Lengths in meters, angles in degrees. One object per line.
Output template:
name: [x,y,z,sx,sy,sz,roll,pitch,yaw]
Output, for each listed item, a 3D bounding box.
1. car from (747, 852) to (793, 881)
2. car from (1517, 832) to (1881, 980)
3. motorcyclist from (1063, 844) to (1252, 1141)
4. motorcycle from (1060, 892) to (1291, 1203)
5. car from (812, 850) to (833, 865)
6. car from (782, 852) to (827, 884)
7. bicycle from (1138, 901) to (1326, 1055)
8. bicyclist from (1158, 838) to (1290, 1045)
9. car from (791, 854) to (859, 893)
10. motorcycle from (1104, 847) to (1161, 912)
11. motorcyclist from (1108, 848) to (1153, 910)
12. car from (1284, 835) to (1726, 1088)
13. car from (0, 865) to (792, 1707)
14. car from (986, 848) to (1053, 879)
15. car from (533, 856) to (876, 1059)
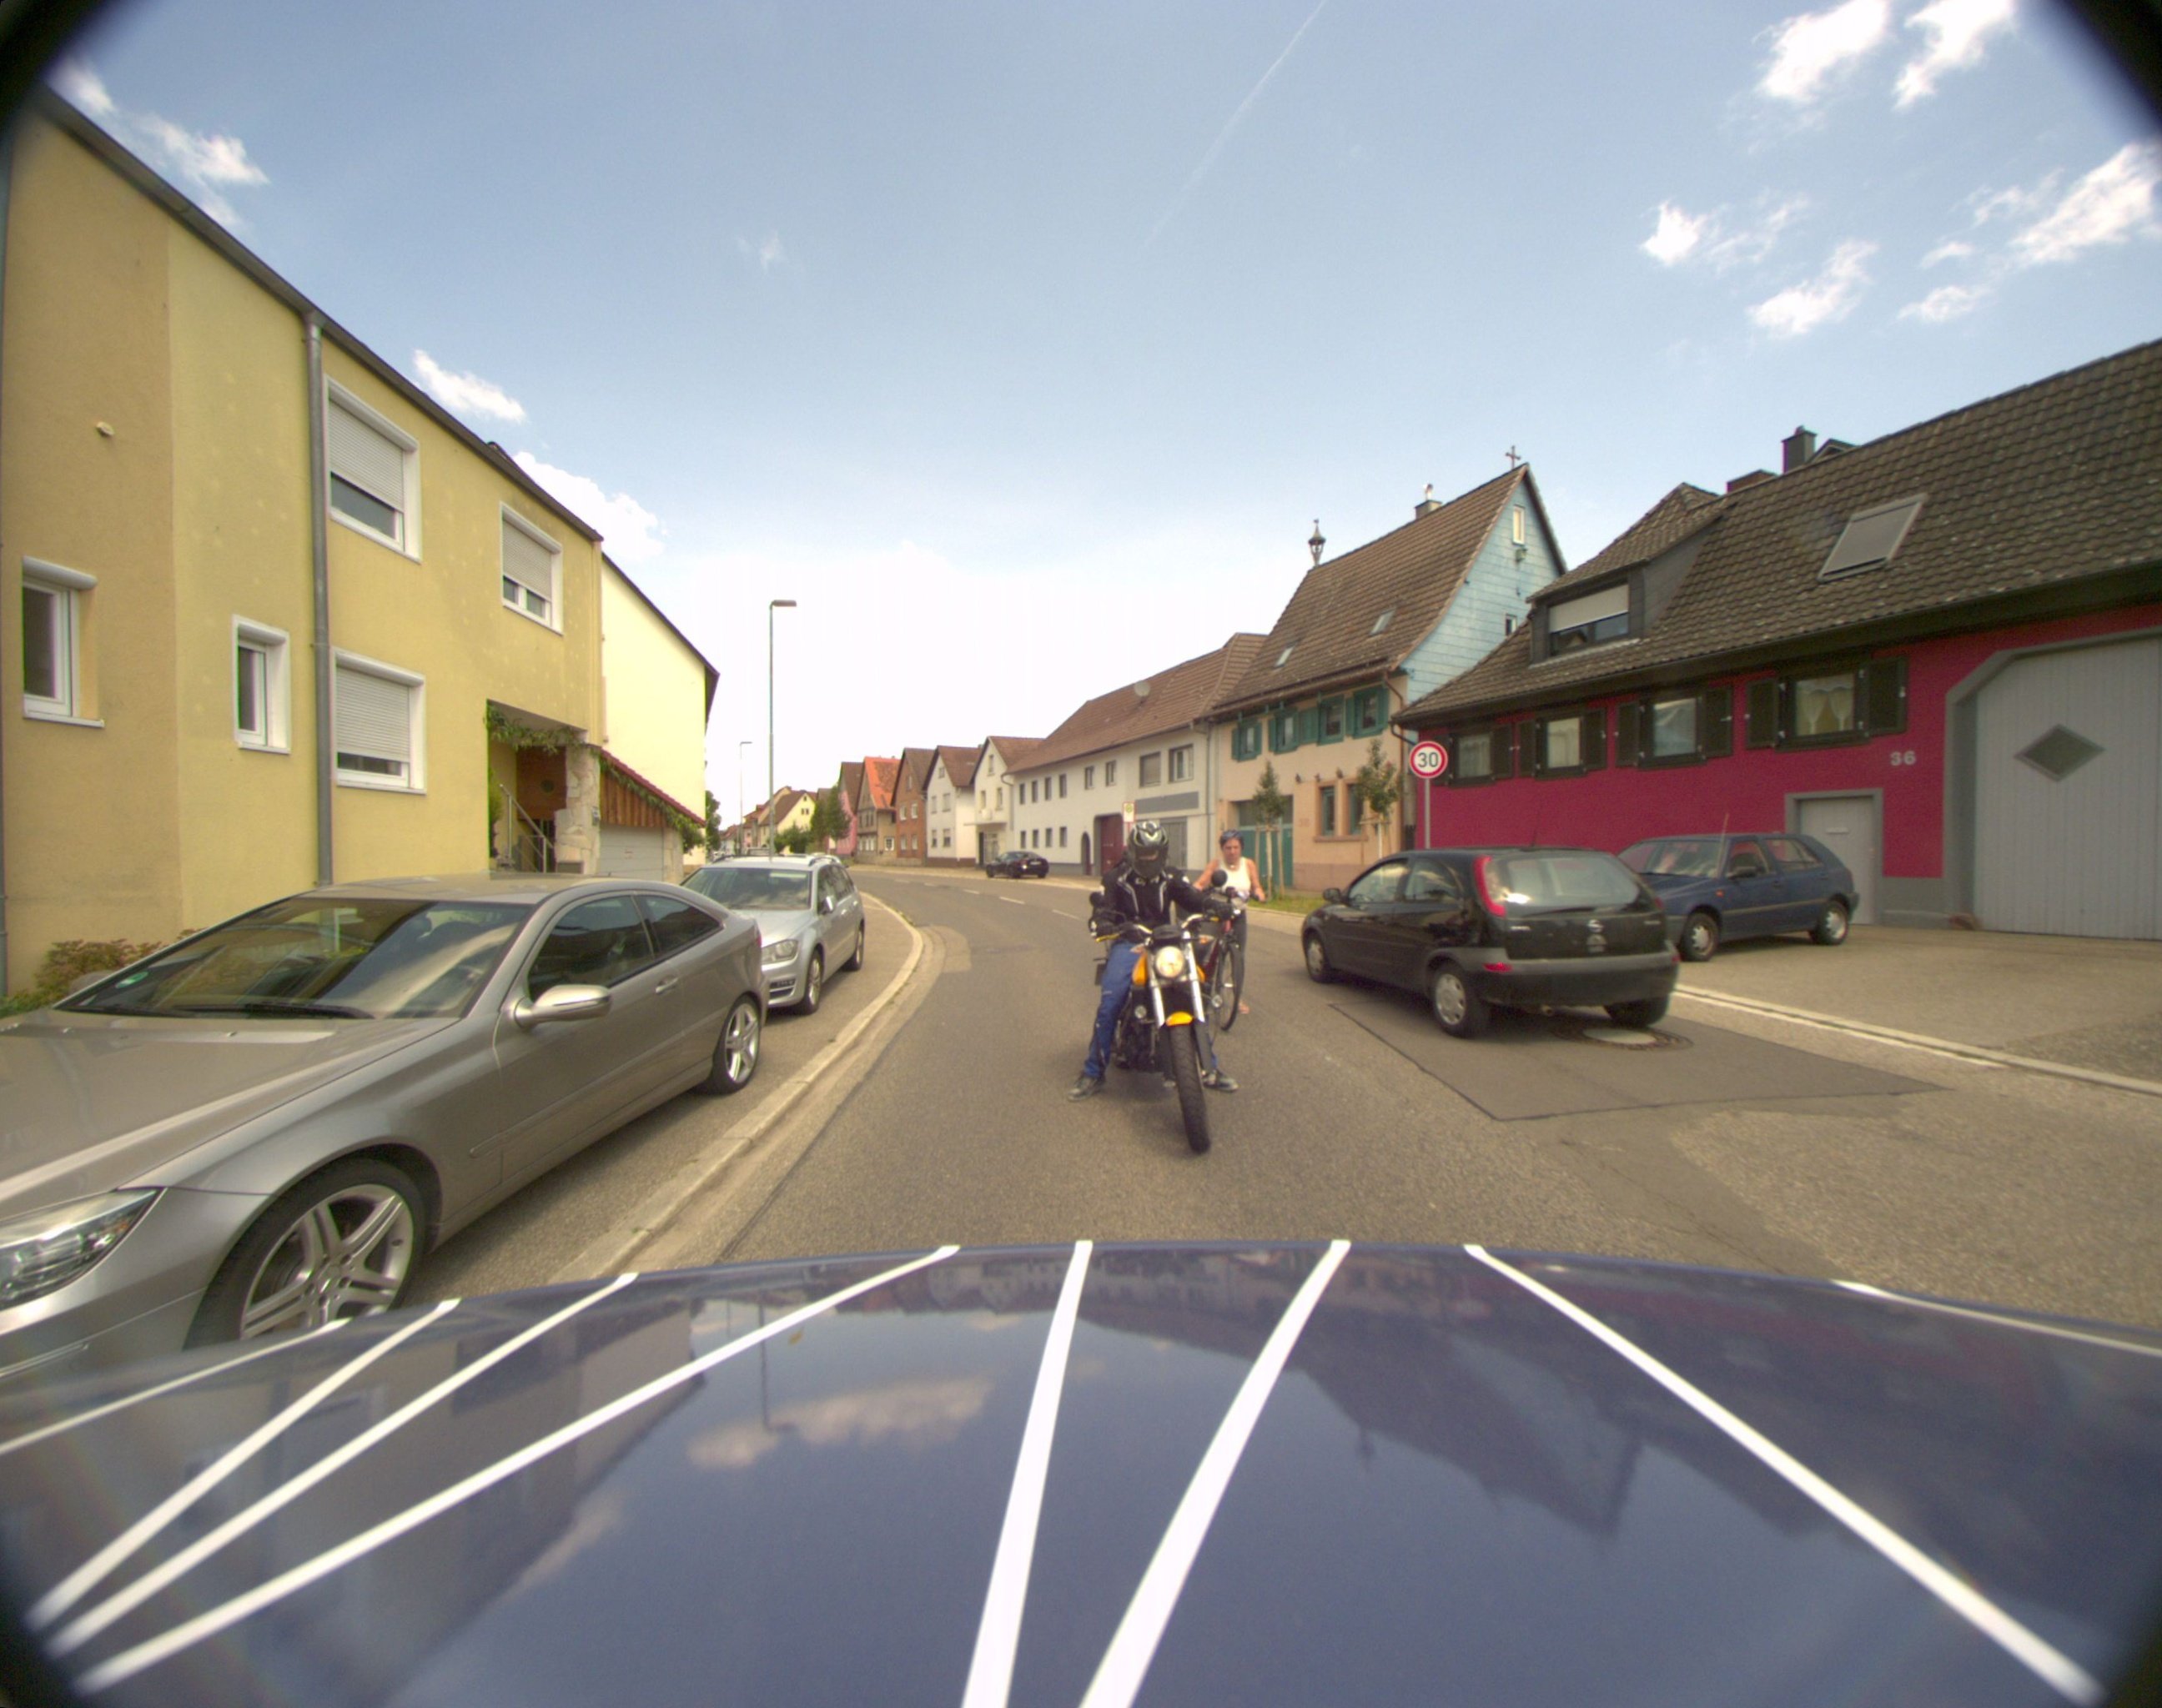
car: [-19.276,0.724,46.989,1.669,1.638,3.989,-3,2,-36]
car: [7.667,0.518,9.452,3.983,1.456,1.718,-2,2,-20]
motorcyclist: [0.423,0.759,4.541,1.000,1.591,0.799,-1,3,0]
motorcycle: [0.435,0.926,4.466,0.985,1.234,2.103,-3,1,0]
car: [-27.859,0.353,81.850,1.687,1.521,3.490,-3,3,-26]
car: [-14.225,0.740,38.967,1.776,1.521,3.993,-1,-1,-25]
bicycle: [1.229,0.991,6.703,0.934,1.005,1.922,-2,0,-11]
bicyclist: [1.236,0.714,6.683,0.910,1.679,0.760,-2,3,-11]
car: [-10.511,0.748,31.027,1.731,1.378,3.989,-1,2,-33]
motorcycle: [1.283,0.629,19.500,0.883,1.552,1.965,-1,0,-14]
motorcyclist: [1.269,0.619,19.570,0.900,1.545,0.806,-1,1,-14]
car: [3.281,0.640,6.828,1.504,1.531,3.852,-2,2,-6]
car: [-2.915,0.872,3.280,1.775,1.392,4.422,2,2,-2]
car: [-3.185,0.463,38.773,1.812,1.412,4.541,-3,1,-26]
car: [-3.536,0.840,8.156,1.891,1.521,4.332,2,1,-6]
